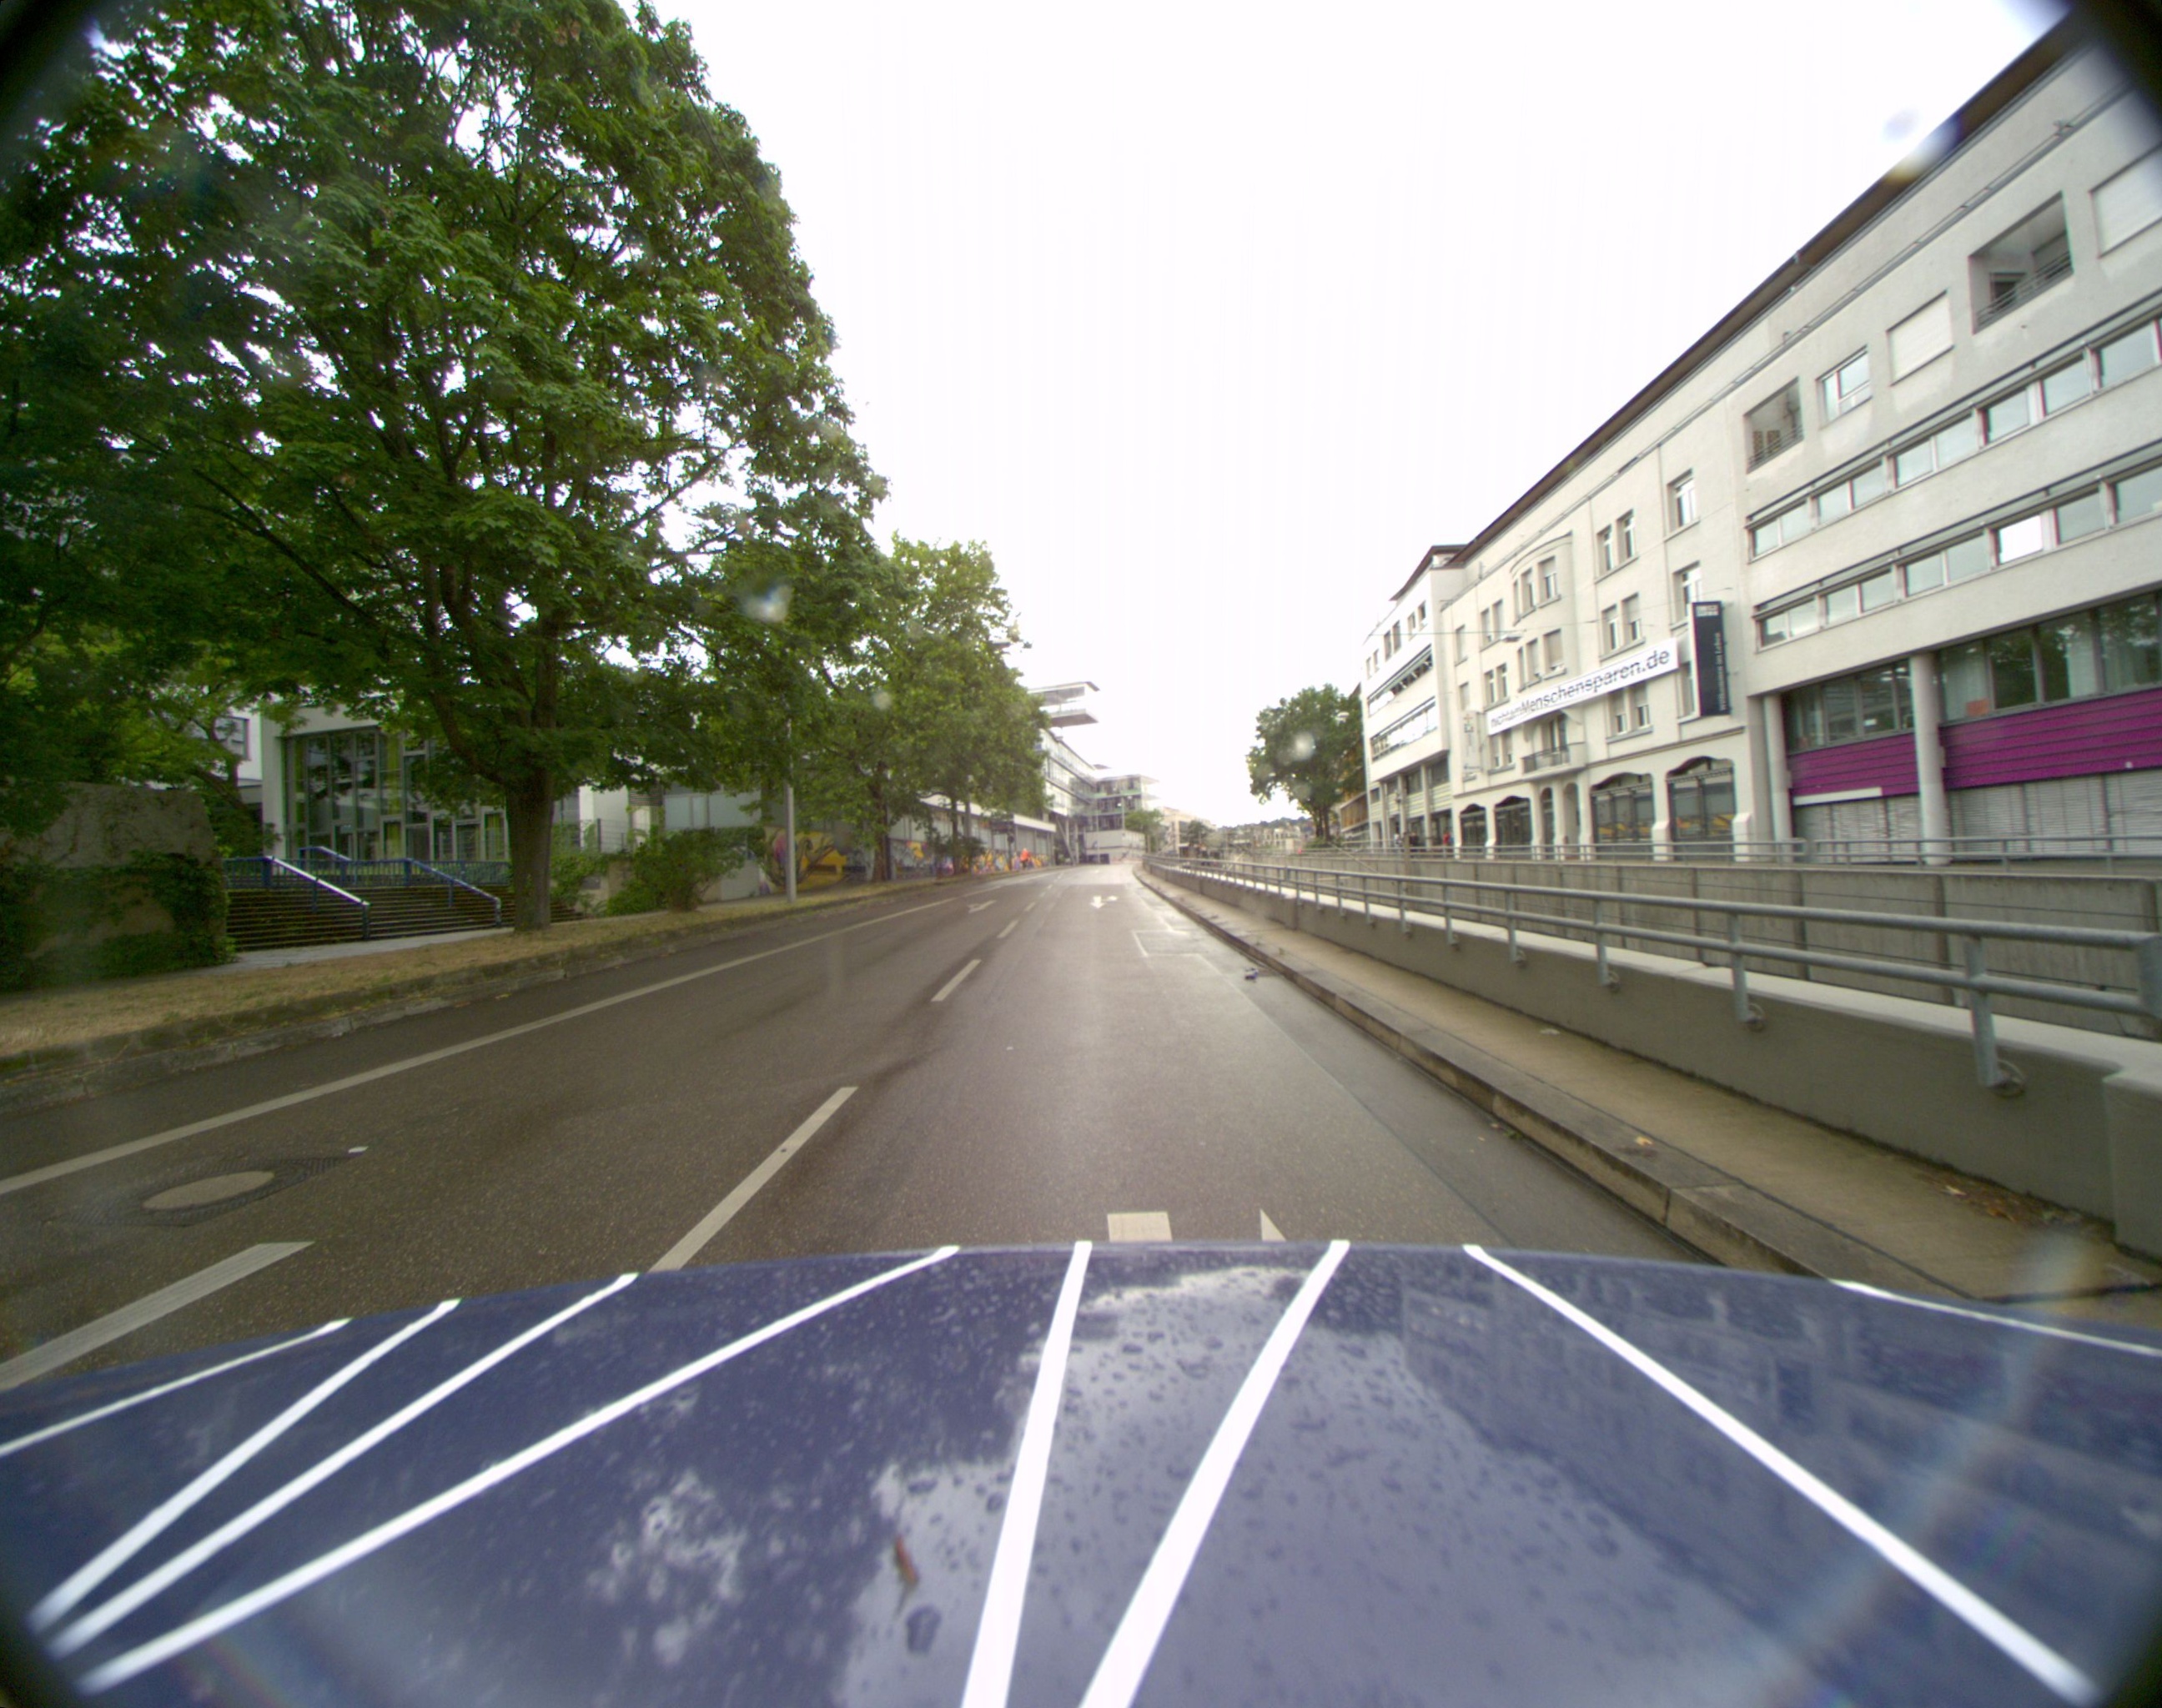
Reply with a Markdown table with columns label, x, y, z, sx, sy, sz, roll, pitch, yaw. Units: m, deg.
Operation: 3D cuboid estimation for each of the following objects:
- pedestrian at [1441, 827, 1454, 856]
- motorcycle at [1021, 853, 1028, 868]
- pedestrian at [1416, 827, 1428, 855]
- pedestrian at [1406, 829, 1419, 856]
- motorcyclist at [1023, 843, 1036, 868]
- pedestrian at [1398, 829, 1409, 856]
| label | x | y | z | sx | sy | sz | roll | pitch | yaw |
| --- | --- | --- | --- | --- | --- | --- | --- | --- | --- |
| pedestrian | 22.830 | -0.794 | 47.370 | 0.470 | 1.792 | 0.547 | -4 | 1 | 0 |
| motorcycle | -4.707 | 0.542 | 63.747 | 0.470 | 1.218 | 1.018 | -4 | 0 | -6 |
| pedestrian | 22.576 | -0.849 | 50.310 | 0.470 | 1.792 | 0.547 | -4 | 1 | 3 |
| pedestrian | 22.485 | -0.774 | 51.572 | 0.547 | 1.792 | 0.470 | -4 | 1 | -7 |
| motorcyclist | -4.330 | 0.116 | 64.184 | 0.754 | 2.002 | 1.002 | -4 | 1 | 9 |
| pedestrian | 21.751 | -0.802 | 51.278 | 0.469 | 1.792 | 0.548 | -4 | 1 | 8 |
